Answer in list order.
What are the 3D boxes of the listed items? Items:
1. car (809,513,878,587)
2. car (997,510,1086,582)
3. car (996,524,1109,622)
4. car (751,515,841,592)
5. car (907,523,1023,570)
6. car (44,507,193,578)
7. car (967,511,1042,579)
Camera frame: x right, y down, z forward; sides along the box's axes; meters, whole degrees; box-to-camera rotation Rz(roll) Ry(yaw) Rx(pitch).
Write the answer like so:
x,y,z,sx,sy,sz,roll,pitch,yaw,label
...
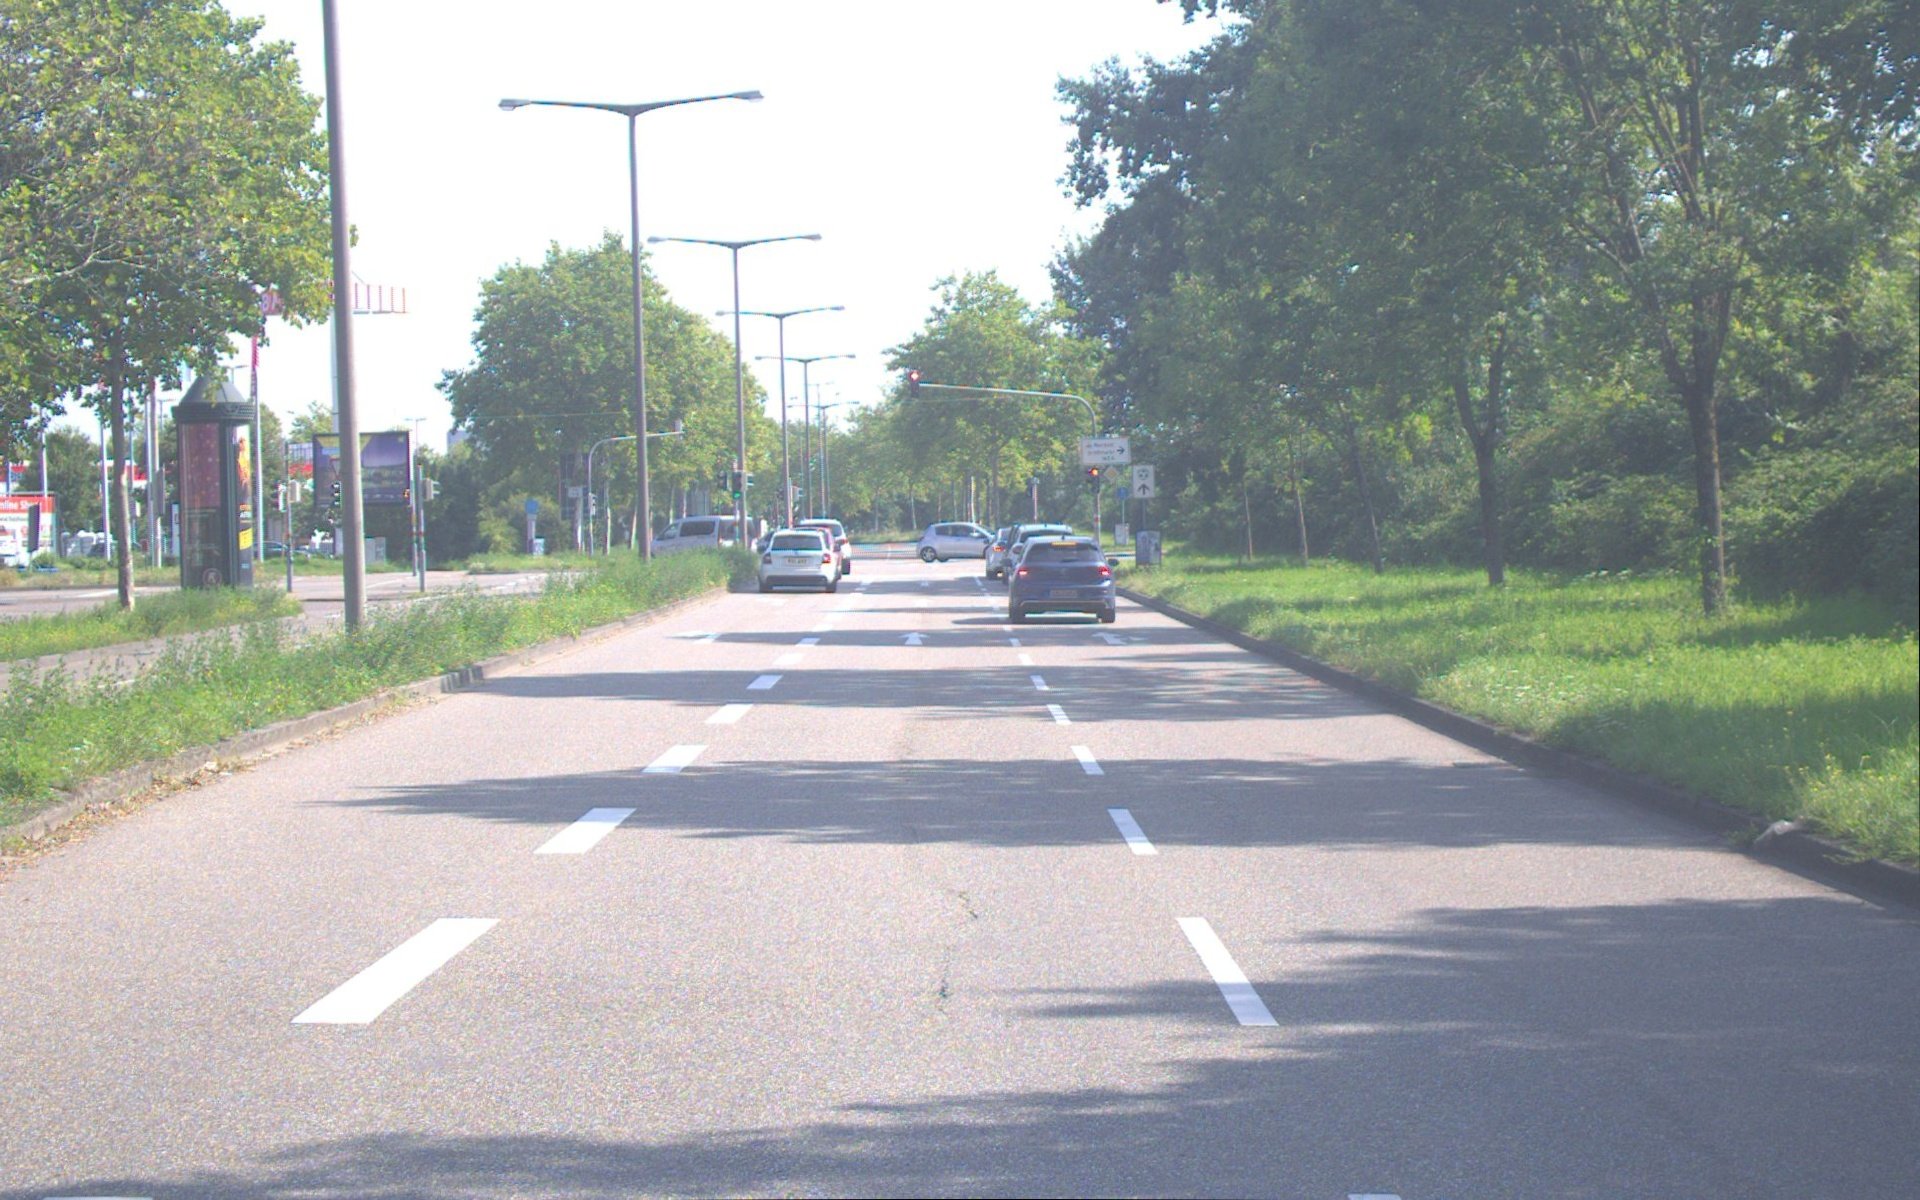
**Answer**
x,y,z,sx,sy,sz,roll,pitch,yaw,label
-3.520,-1.538,104.137,1.993,2.006,4.001,0,4,-1,car
1.964,-1.326,84.081,1.993,1.648,4.000,-2,1,-1,car
1.544,-0.481,58.476,1.780,1.423,4.001,0,4,0,car
-3.803,-1.098,80.230,1.993,1.696,4.000,-2,1,-2,car
0.188,-2.011,128.000,3.990,1.625,1.698,-1,1,16,car
-25.959,-1.807,106.055,3.989,2.006,2.000,-3,5,-40,car
1.239,-1.560,97.043,1.993,1.648,4.001,0,5,-1,car
